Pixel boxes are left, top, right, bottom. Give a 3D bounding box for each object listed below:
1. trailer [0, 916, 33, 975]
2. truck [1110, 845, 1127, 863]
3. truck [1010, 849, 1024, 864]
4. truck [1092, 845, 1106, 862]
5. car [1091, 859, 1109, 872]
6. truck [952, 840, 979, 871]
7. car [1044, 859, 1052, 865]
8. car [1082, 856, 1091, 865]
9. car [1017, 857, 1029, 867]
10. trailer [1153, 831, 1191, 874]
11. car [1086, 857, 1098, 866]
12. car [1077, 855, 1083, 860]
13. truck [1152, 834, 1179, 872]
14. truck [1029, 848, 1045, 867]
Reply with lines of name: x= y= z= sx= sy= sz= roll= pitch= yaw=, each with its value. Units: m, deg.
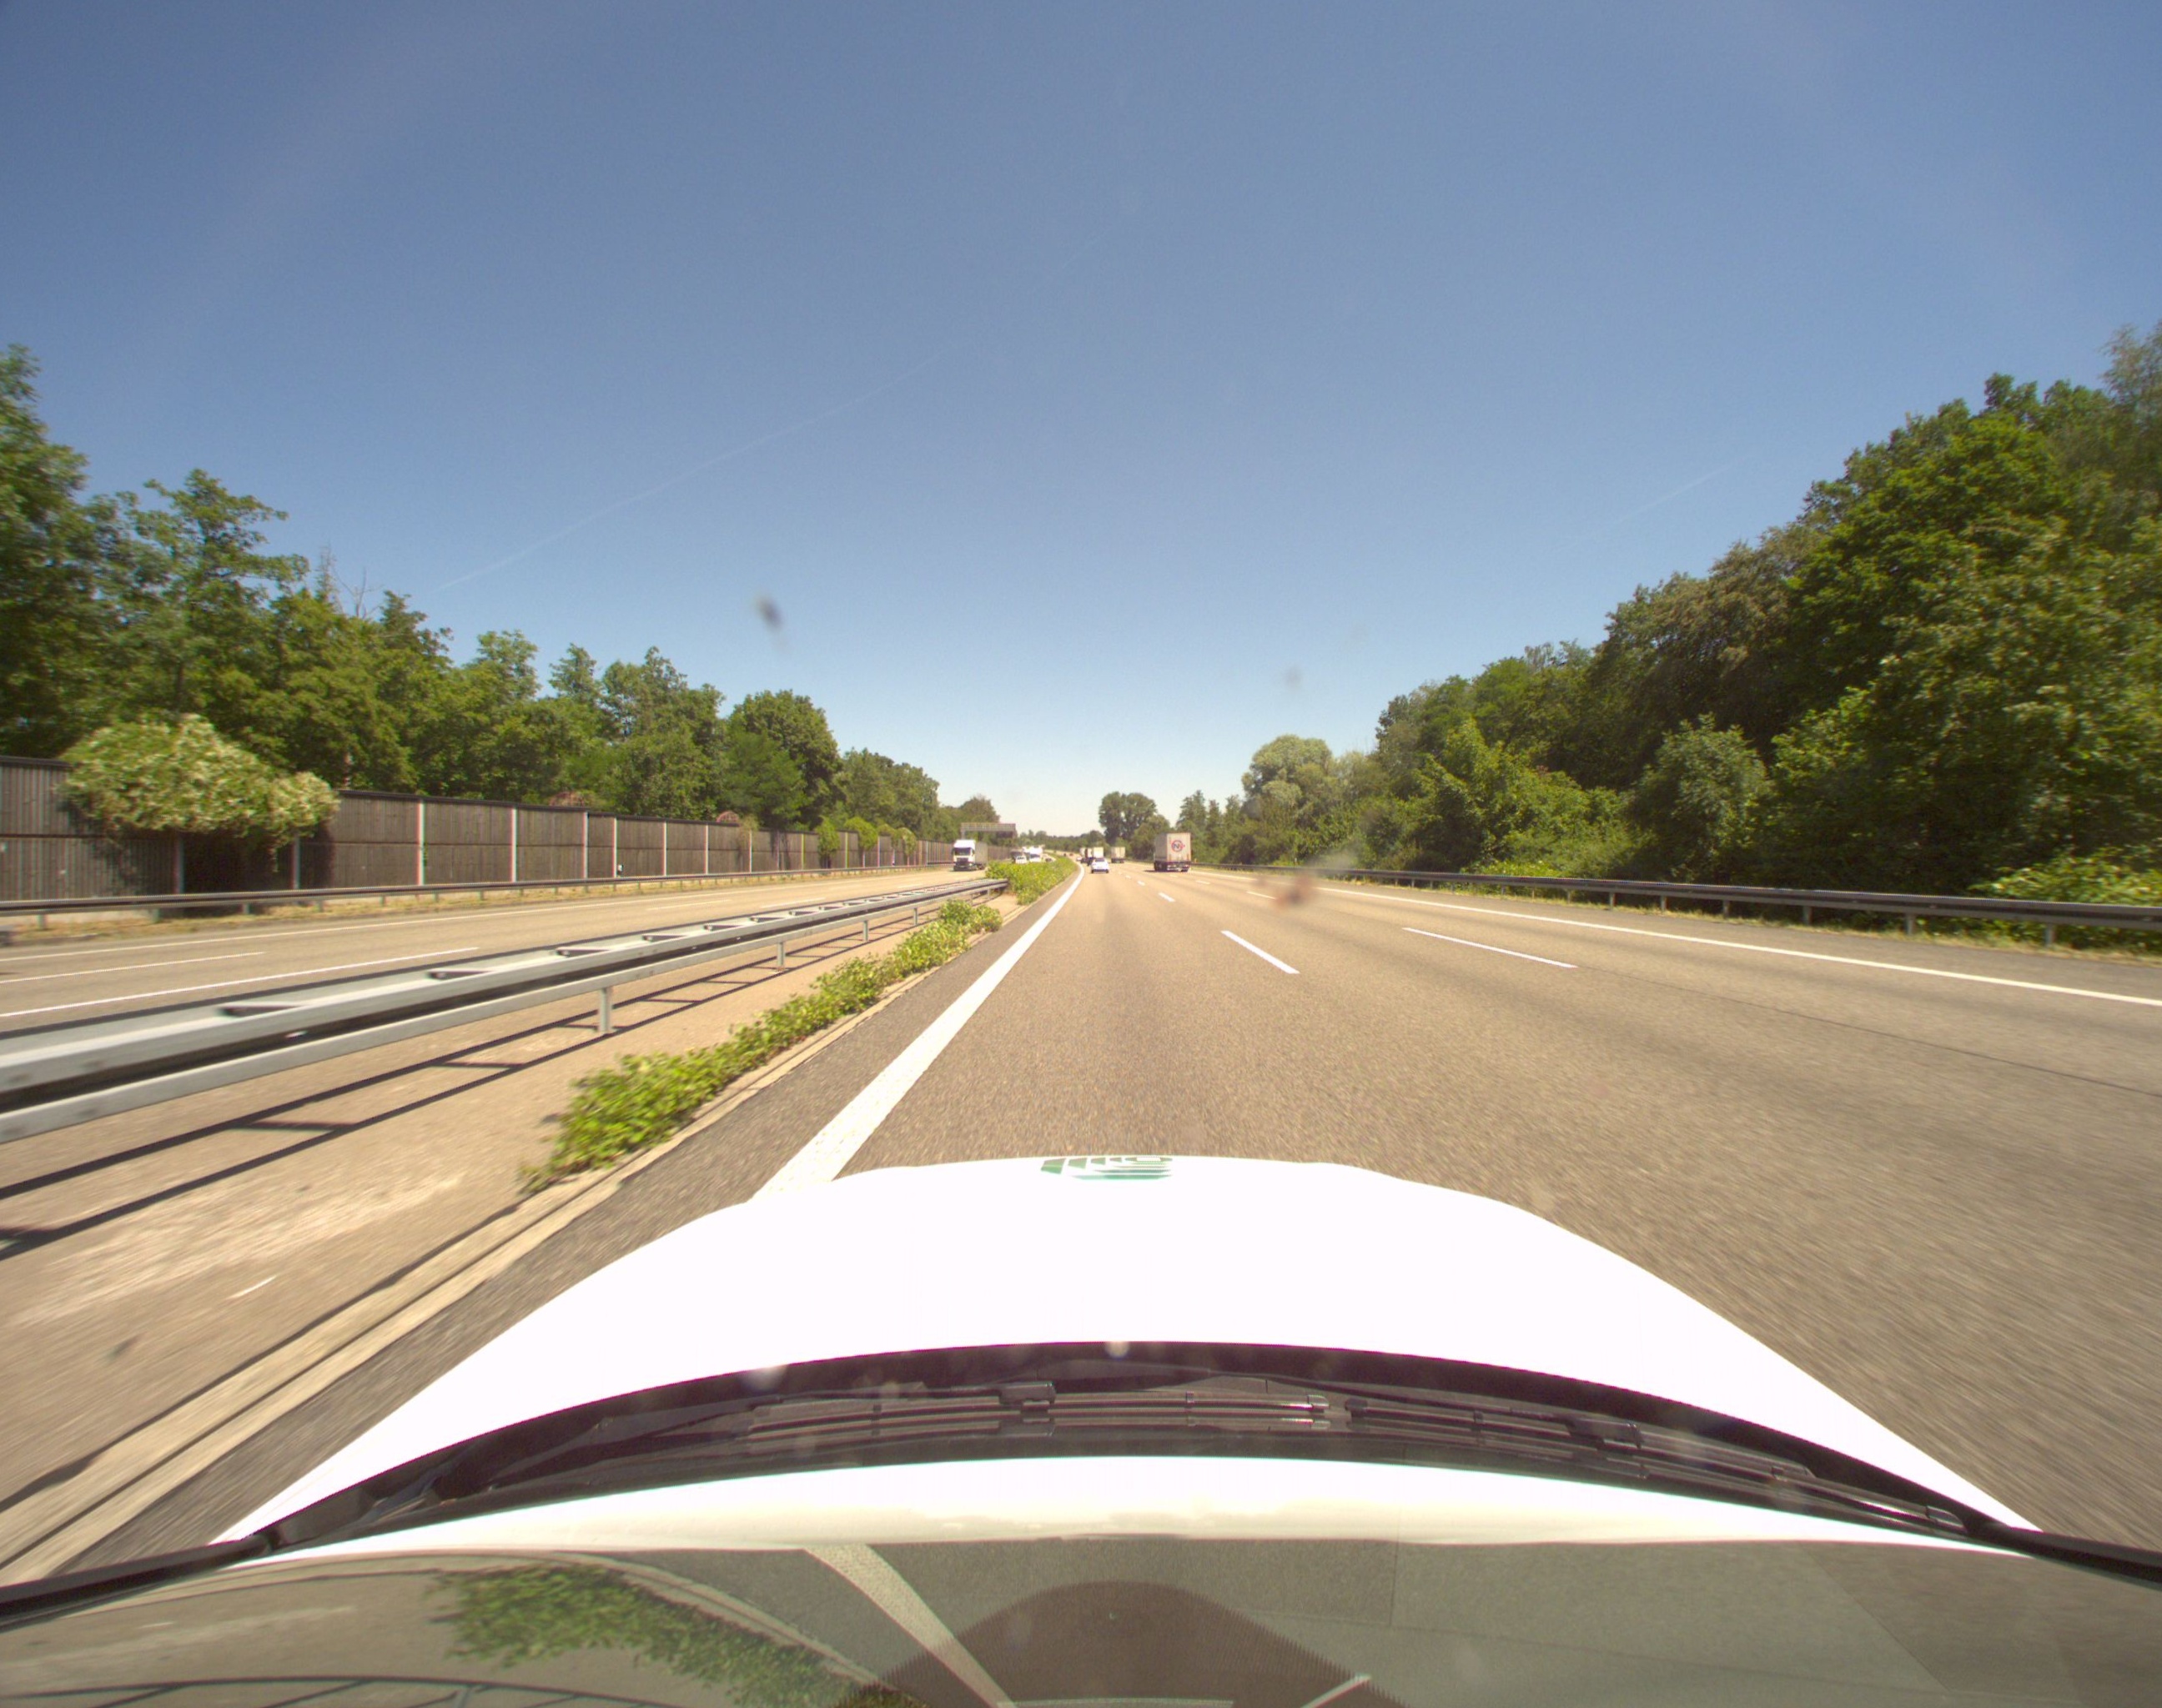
trailer: x=-16.343 y=1.312 z=8.697 sx=2.154 sy=0.807 sz=6.280 roll=-1 pitch=0 yaw=0
truck: x=9.149 y=0.069 z=200.837 sx=3.482 sy=4.311 sz=10.983 roll=-1 pitch=0 yaw=-1
truck: x=-15.972 y=0.528 z=203.676 sx=2.861 sy=3.605 sz=9.950 roll=-1 pitch=0 yaw=0
truck: x=4.758 y=-0.097 z=220.328 sx=3.349 sy=4.311 sz=10.824 roll=-1 pitch=0 yaw=-1
car: x=1.997 y=1.194 z=84.461 sx=1.709 sy=1.369 sz=3.377 roll=-1 pitch=0 yaw=2
truck: x=-15.111 y=0.187 z=106.733 sx=2.678 sy=3.895 sz=5.572 roll=0 pitch=0 yaw=0
car: x=-7.240 y=1.803 z=180.057 sx=1.621 sy=1.390 sz=3.912 roll=-1 pitch=0 yaw=-1
car: x=1.347 y=1.504 z=196.648 sx=1.989 sy=2.013 sz=3.996 roll=-1 pitch=0 yaw=-3
car: x=-10.506 y=1.417 z=147.547 sx=1.861 sy=1.820 sz=4.816 roll=-1 pitch=0 yaw=0
trailer: x=9.795 y=-0.107 z=88.993 sx=2.615 sy=4.261 sz=14.059 roll=-1 pitch=0 yaw=0
car: x=2.039 y=1.392 z=152.870 sx=1.988 sy=1.772 sz=3.997 roll=-1 pitch=0 yaw=-2
car: x=-0.381 y=1.061 z=249.756 sx=1.720 sy=1.783 sz=3.996 roll=-1 pitch=0 yaw=-3
truck: x=9.821 y=-0.109 z=95.599 sx=2.597 sy=4.287 sz=5.435 roll=-1 pitch=0 yaw=0
truck: x=-7.385 y=0.523 z=136.985 sx=2.186 sy=3.114 sz=8.534 roll=-1 pitch=0 yaw=1
